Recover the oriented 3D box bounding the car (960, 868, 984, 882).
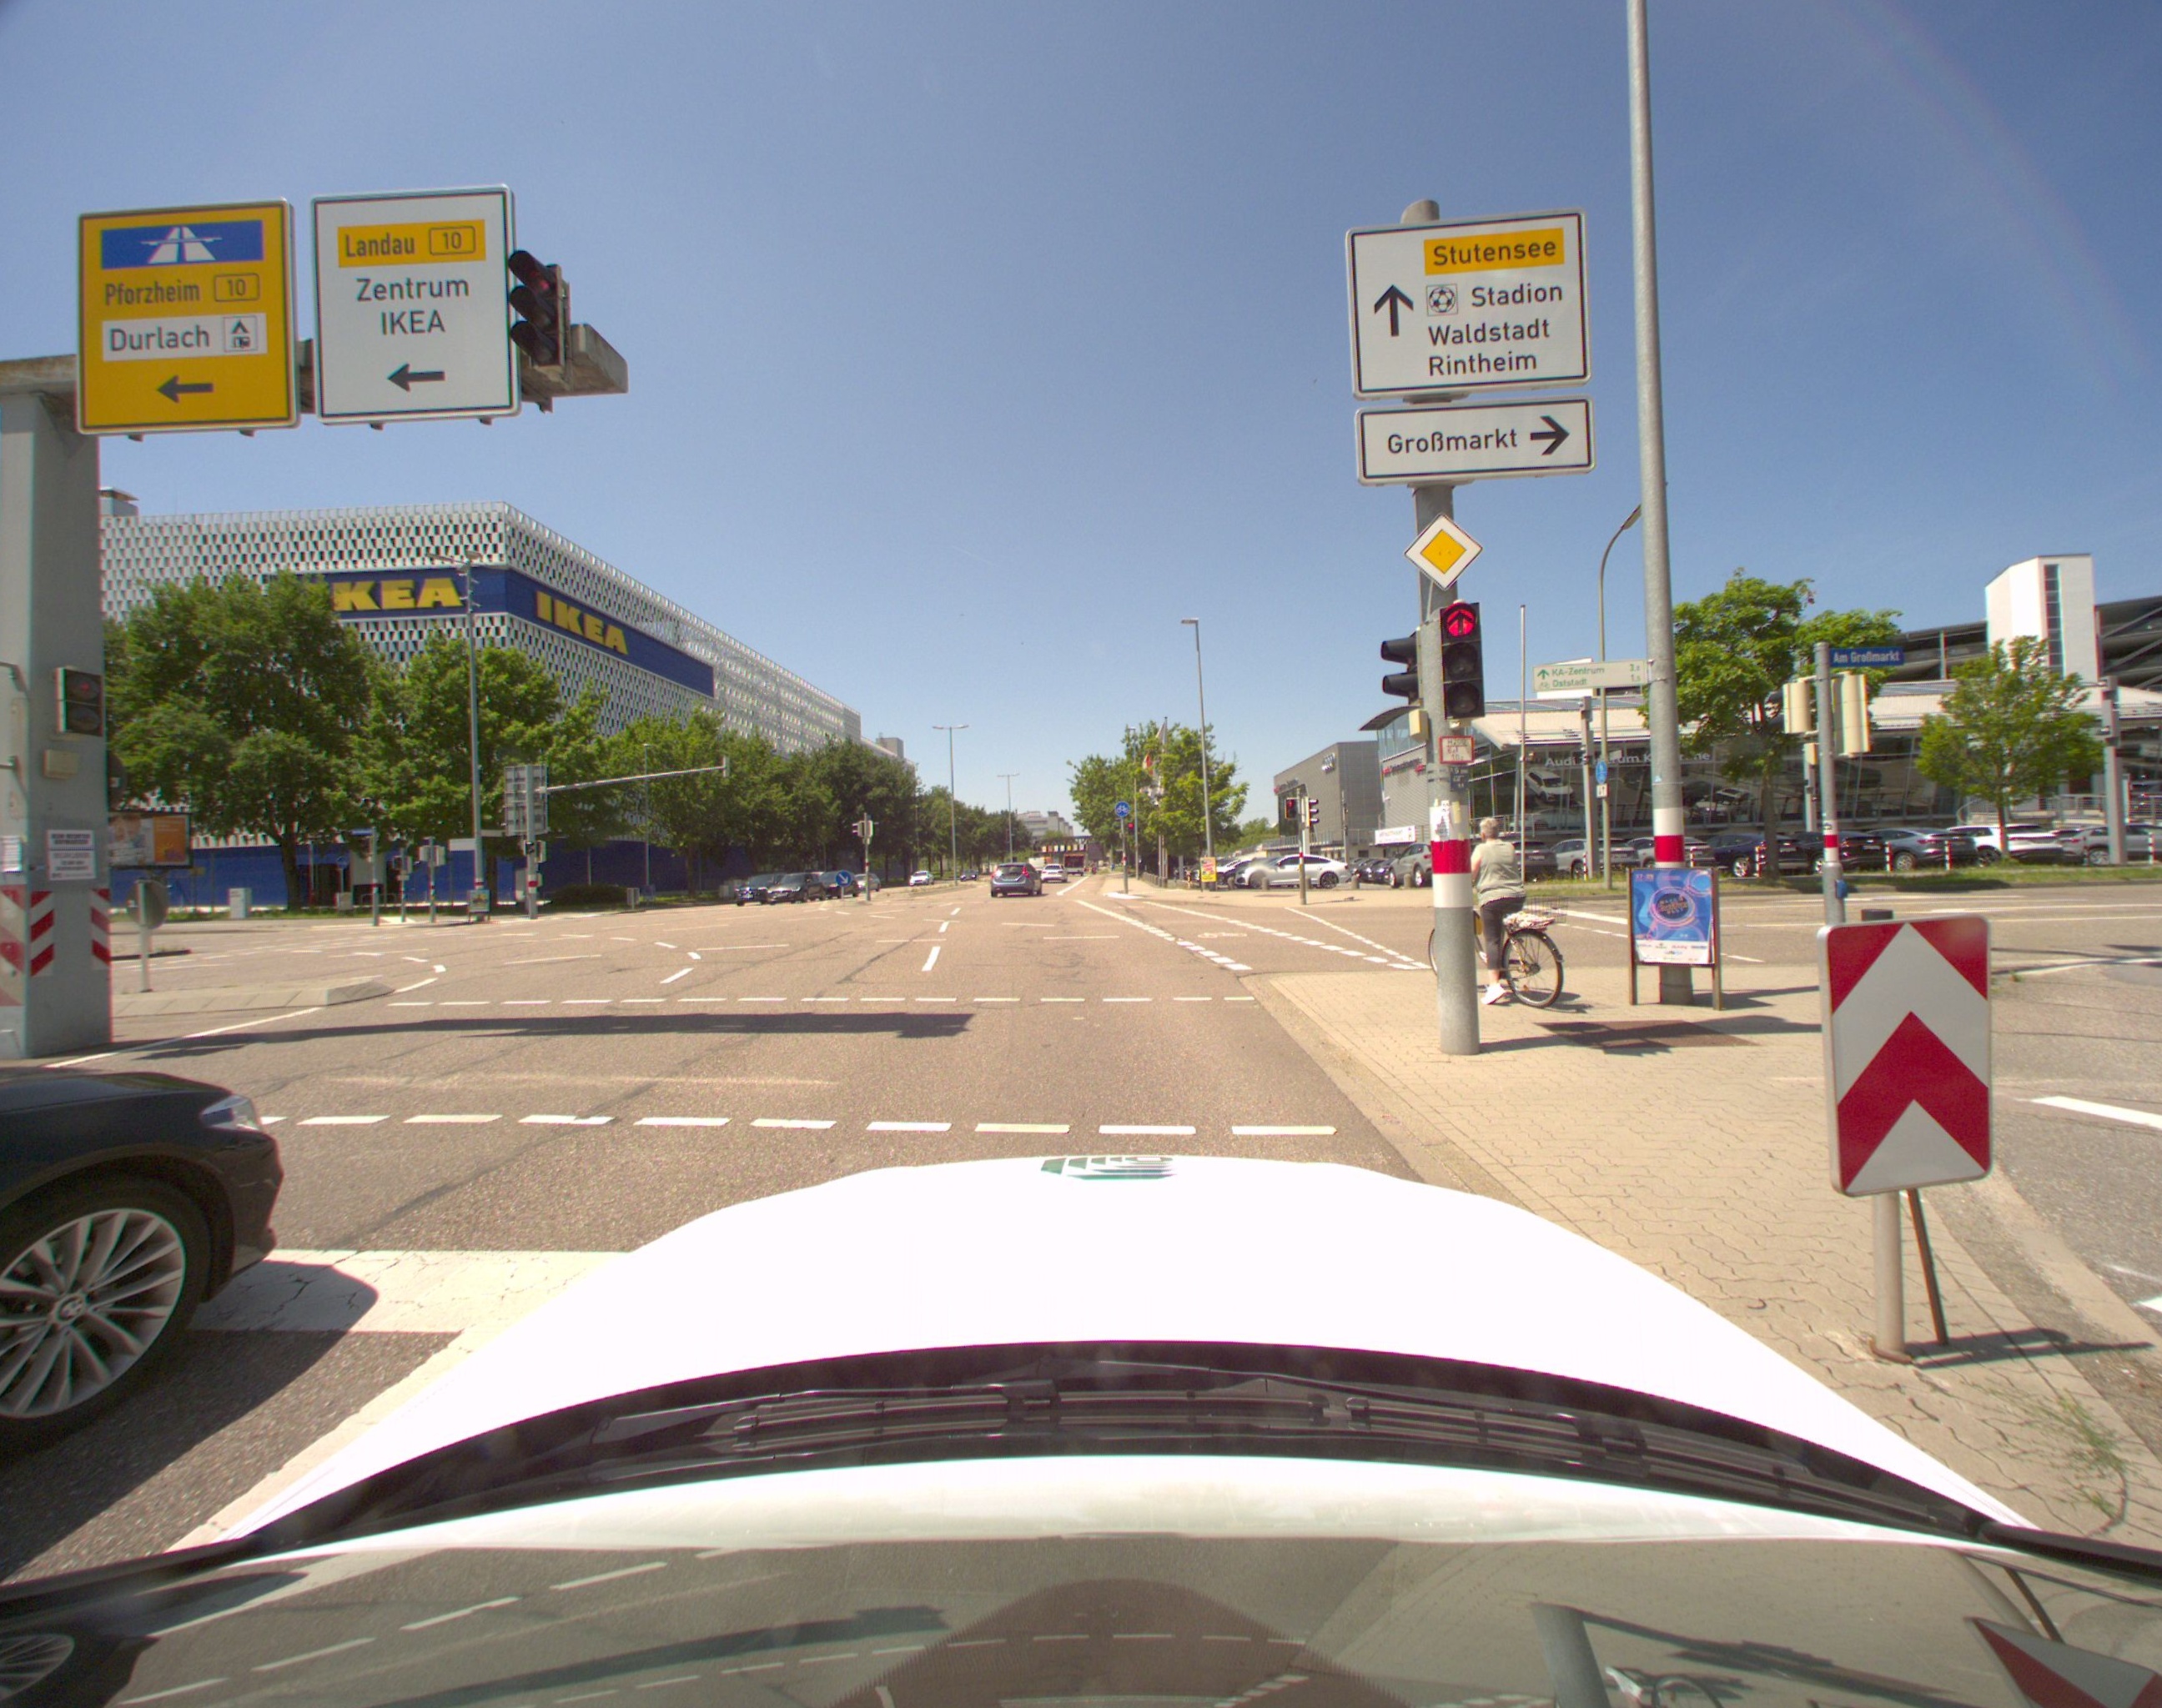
[{"bbox_3d":[-12.508,2.386,93.540,1.718,1.446,4.725,-4,-1,4],"label":"car"}]

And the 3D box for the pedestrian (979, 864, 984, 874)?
[{"bbox_3d":[-18.997,2.795,155.565,0.741,1.884,0.578,-2,-1,2],"label":"pedestrian"}]

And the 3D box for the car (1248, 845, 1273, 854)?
[{"bbox_3d":[27.375,-0.673,124.248,3.515,1.239,1.675,0,-1,-3],"label":"car"}]

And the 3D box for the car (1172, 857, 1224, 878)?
[{"bbox_3d":[8.634,0.993,60.248,3.668,1.453,1.834,0,-1,1],"label":"car"}]

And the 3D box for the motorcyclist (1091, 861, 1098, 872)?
[{"bbox_3d":[1.736,1.640,106.343,0.719,1.529,0.868,0,-1,-8],"label":"motorcyclist"}]

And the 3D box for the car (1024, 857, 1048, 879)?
[{"bbox_3d":[-4.443,1.404,81.386,1.986,2.014,4.000,-2,-1,1],"label":"car"}]

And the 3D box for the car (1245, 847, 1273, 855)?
[{"bbox_3d":[28.204,-0.503,129.001,3.977,1.312,1.795,0,-1,-3],"label":"car"}]

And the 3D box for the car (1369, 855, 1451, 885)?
[{"bbox_3d":[18.582,0.888,46.094,3.970,1.622,1.657,0,-1,1],"label":"car"}]

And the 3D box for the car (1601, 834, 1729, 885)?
[{"bbox_3d":[20.195,0.144,28.359,1.632,1.616,3.815,-1,1,-2],"label":"car"}]

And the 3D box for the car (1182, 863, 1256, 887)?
[{"bbox_3d":[8.339,1.271,49.337,4.210,1.390,1.869,0,-1,1],"label":"car"}]

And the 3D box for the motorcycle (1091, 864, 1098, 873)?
[{"bbox_3d":[1.747,1.865,106.302,0.716,1.105,1.825,-1,-1,-8],"label":"motorcycle"}]

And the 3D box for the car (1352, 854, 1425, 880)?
[{"bbox_3d":[19.209,0.830,51.008,3.967,1.573,1.634,0,-1,1],"label":"car"}]

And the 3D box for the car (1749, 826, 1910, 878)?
[{"bbox_3d":[25.748,-0.045,28.239,1.840,1.654,3.994,0,-1,-2],"label":"car"}]

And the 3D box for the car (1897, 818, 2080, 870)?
[{"bbox_3d":[31.194,-0.302,28.198,1.840,1.654,3.994,0,-1,-2],"label":"car"}]

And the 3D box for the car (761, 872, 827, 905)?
[{"bbox_3d":[-13.768,1.642,39.240,1.637,1.389,3.717,-4,-1,2],"label":"car"}]

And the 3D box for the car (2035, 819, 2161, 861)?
[{"bbox_3d":[39.601,-0.554,30.544,4.531,1.471,1.925,-3,-1,26],"label":"car"}]

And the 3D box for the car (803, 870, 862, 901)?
[{"bbox_3d":[-13.784,1.725,45.468,1.720,1.505,4.245,-4,-1,2],"label":"car"}]

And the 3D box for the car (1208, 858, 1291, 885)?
[{"bbox_3d":[8.962,0.931,43.604,4.081,1.364,1.875,0,-1,1],"label":"car"}]

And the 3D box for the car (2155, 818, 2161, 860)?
[{"bbox_3d":[39.538,-0.592,26.892,4.558,1.471,1.861,-2,0,26],"label":"car"}]

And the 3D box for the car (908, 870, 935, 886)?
[{"bbox_3d":[-15.947,2.376,81.693,1.737,1.486,4.001,-3,-1,2],"label":"car"}]

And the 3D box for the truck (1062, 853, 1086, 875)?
[{"bbox_3d":[-0.710,1.151,92.504,2.449,2.410,7.136,0,-1,2],"label":"truck"}]

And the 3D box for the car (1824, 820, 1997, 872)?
[{"bbox_3d":[28.549,-0.237,28.226,1.840,1.654,3.994,0,-1,-2],"label":"car"}]

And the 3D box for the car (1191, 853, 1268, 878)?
[{"bbox_3d":[8.414,0.662,46.357,4.084,1.349,1.869,0,-1,1],"label":"car"}]

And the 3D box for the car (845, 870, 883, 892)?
[{"bbox_3d":[-16.076,2.009,60.468,1.643,1.486,3.916,-3,-1,2],"label":"car"}]

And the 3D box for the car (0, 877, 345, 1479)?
[{"bbox_3d":[-3.555,0.810,0.612,1.791,1.440,4.557,-2,0,1],"label":"car"}]

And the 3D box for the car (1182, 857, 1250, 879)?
[{"bbox_3d":[8.601,0.889,52.129,4.085,1.405,1.869,0,-1,1],"label":"car"}]

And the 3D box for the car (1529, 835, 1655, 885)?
[{"bbox_3d":[17.862,0.219,28.716,1.840,1.654,3.994,0,-1,-2],"label":"car"}]

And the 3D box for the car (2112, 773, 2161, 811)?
[{"bbox_3d":[53.564,-3.110,39.409,1.905,1.722,4.142,-2,0,-5],"label":"car"}]

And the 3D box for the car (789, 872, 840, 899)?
[{"bbox_3d":[-16.679,1.938,51.172,1.720,1.544,3.916,-3,-1,2],"label":"car"}]

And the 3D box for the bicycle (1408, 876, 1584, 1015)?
[{"bbox_3d":[3.984,0.816,8.006,0.627,1.133,1.891,-1,0,-5],"label":"bicycle"}]

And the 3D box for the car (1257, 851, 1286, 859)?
[{"bbox_3d":[27.186,0.139,116.274,3.716,1.130,1.682,0,-1,-3],"label":"car"}]

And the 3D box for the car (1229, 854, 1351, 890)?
[{"bbox_3d":[8.450,0.714,33.187,4.572,1.390,1.871,0,-1,3],"label":"car"}]

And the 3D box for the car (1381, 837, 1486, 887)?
[{"bbox_3d":[12.374,0.334,28.925,1.860,1.558,4.506,-3,-2,3],"label":"car"}]

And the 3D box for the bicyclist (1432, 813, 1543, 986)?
[{"bbox_3d":[3.977,0.425,8.023,0.627,1.606,0.824,0,-1,-5],"label":"bicyclist"}]

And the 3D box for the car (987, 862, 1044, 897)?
[{"bbox_3d":[-2.796,1.076,35.654,1.892,1.376,4.234,-2,-1,3],"label":"car"}]

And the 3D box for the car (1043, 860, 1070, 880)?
[{"bbox_3d":[-1.807,1.181,61.480,1.737,1.396,3.530,-2,0,2],"label":"car"}]

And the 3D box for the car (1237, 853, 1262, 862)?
[{"bbox_3d":[29.214,0.628,141.249,3.978,1.312,1.795,-2,-1,-3],"label":"car"}]

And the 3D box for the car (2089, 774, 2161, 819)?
[{"bbox_3d":[45.699,-2.473,34.011,4.552,1.707,1.916,-2,-1,4],"label":"car"}]

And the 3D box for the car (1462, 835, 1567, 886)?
[{"bbox_3d":[15.076,0.229,28.564,1.836,1.654,4.003,0,-1,5],"label":"car"}]

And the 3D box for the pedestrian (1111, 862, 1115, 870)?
[{"bbox_3d":[5.245,1.951,133.393,0.621,1.374,0.564,-2,-1,0],"label":"pedestrian"}]

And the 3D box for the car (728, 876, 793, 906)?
[{"bbox_3d":[-16.806,1.903,42.931,1.654,1.424,4.039,-3,-1,2],"label":"car"}]

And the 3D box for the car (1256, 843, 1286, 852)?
[{"bbox_3d":[27.969,-0.915,120.004,3.930,1.211,1.715,-1,-1,-3],"label":"car"}]

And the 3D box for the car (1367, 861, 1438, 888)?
[{"bbox_3d":[19.231,1.211,48.807,3.634,1.580,1.643,0,-1,1],"label":"car"}]

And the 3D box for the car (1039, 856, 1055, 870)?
[{"bbox_3d":[-5.066,1.357,122.814,1.986,2.014,4.814,0,-1,2],"label":"car"}]

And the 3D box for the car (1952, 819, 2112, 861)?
[{"bbox_3d":[39.810,-0.561,34.246,3.947,1.571,1.862,-3,-1,31],"label":"car"}]

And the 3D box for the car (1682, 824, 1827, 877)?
[{"bbox_3d":[23.076,-0.096,28.108,1.624,1.654,3.907,-1,-1,-2],"label":"car"}]

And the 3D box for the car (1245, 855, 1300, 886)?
[{"bbox_3d":[9.232,0.793,39.601,1.855,1.420,4.667,0,-1,4],"label":"car"}]

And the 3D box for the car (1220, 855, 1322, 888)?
[{"bbox_3d":[8.289,0.751,35.783,4.081,1.390,1.869,0,-1,1],"label":"car"}]
